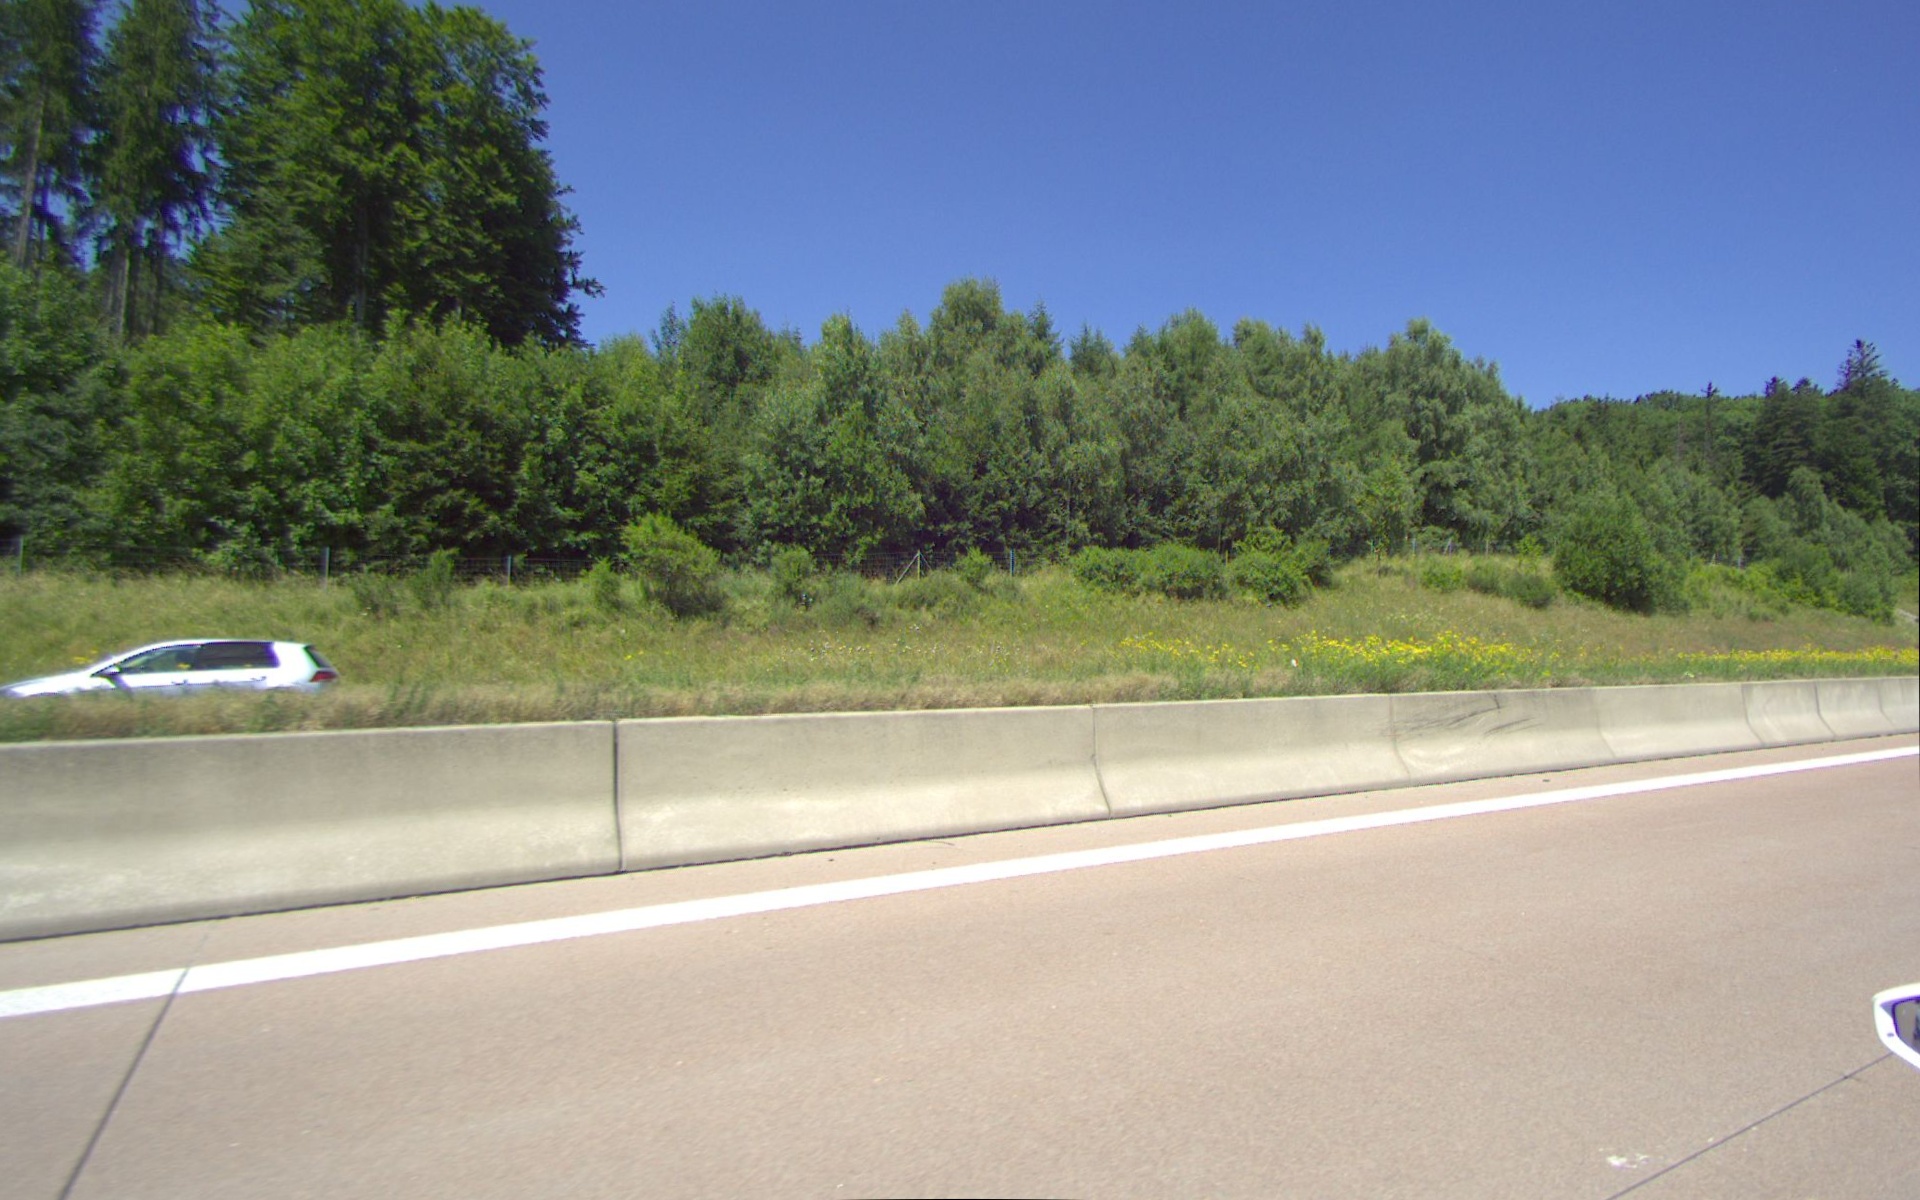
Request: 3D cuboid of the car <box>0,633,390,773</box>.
[{"bbox_3d":[-11.108,1.411,15.020,4.414,1.761,1.880,1,-1,-32],"label":"car"}]
